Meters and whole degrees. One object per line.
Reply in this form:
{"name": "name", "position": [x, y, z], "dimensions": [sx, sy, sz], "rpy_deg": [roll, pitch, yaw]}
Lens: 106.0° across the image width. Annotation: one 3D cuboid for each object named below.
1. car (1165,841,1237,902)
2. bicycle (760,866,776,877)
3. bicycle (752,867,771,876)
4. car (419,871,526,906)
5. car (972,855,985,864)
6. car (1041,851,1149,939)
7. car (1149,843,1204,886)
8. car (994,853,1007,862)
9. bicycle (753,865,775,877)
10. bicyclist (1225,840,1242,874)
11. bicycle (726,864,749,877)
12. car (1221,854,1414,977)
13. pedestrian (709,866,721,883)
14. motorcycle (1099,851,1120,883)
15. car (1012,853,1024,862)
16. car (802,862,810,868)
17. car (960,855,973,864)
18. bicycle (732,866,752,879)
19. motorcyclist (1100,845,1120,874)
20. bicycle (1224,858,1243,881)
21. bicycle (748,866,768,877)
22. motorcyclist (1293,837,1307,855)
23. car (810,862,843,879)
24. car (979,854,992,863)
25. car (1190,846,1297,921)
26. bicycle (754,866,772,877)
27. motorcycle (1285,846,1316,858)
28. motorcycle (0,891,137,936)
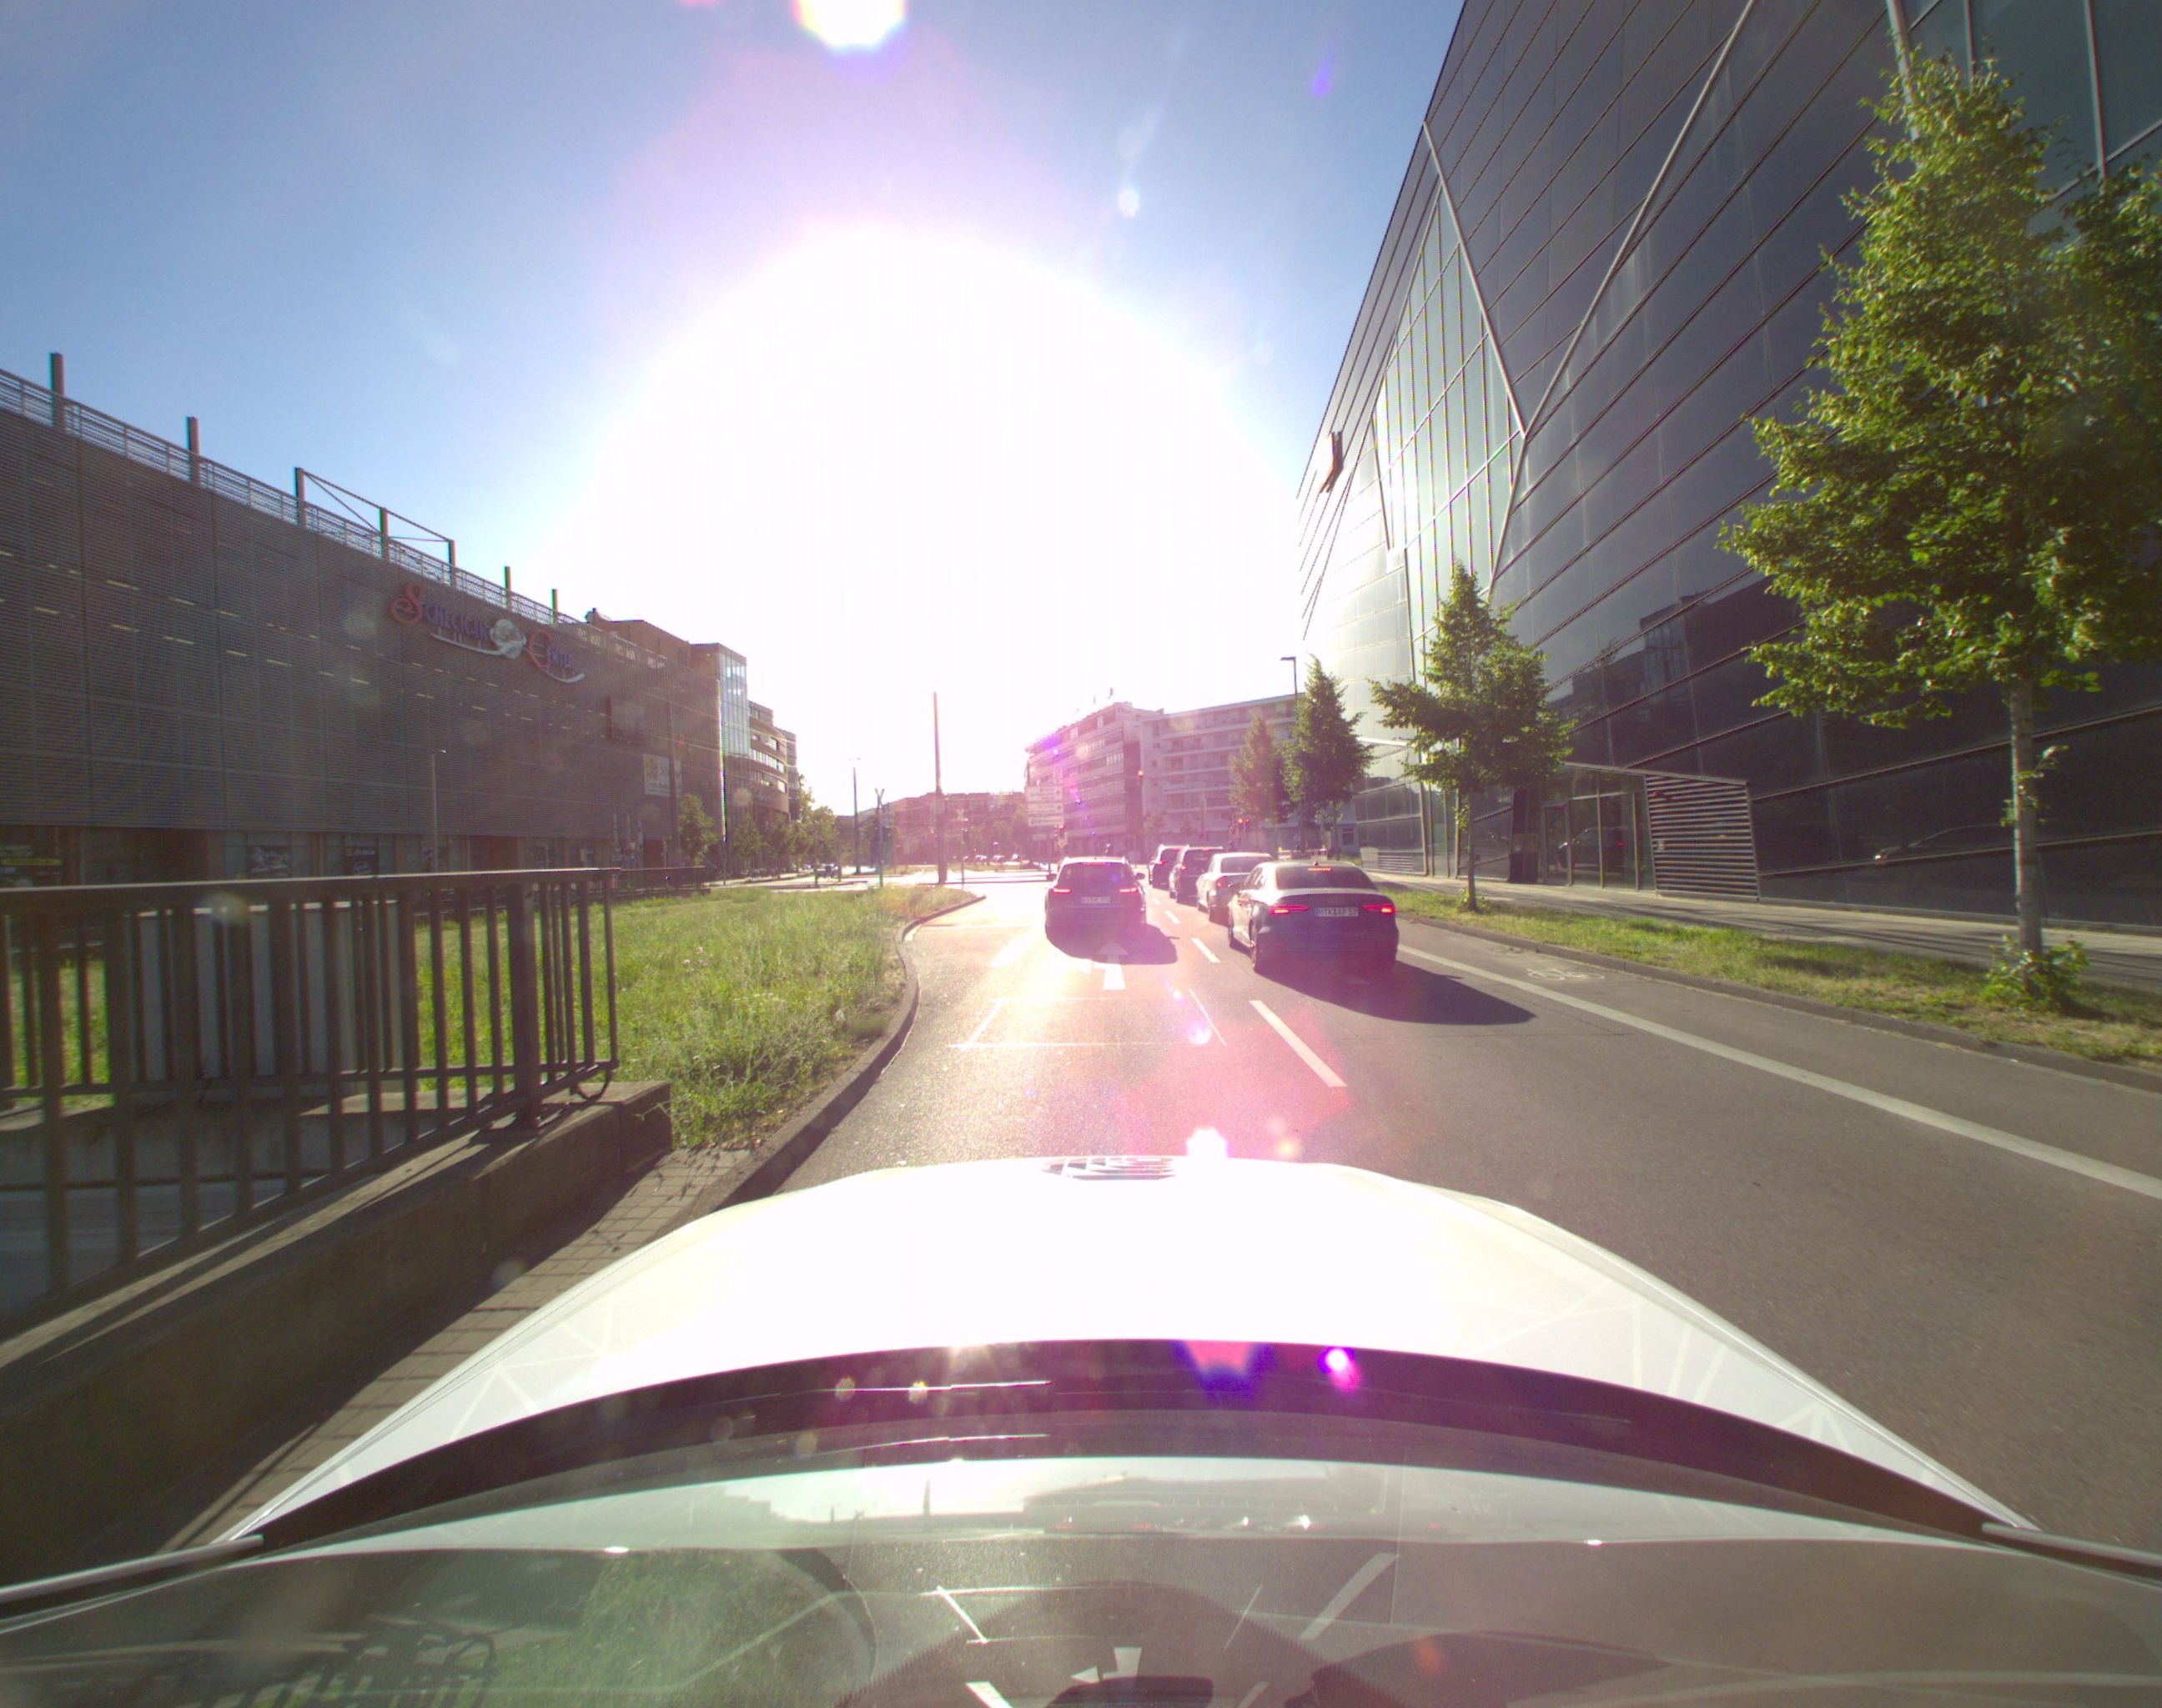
{"name": "car", "position": [3.628, 0.508, 25.223], "dimensions": [1.739, 1.696, 4.263], "rpy_deg": [-1, 0, 2]}
{"name": "bicycle", "position": [-46.186, 2.556, 120.241], "dimensions": [2.125, 1.433, 0.761], "rpy_deg": [-3, -1, 10]}
{"name": "bicycle", "position": [-46.031, 2.511, 117.347], "dimensions": [2.399, 1.236, 0.747], "rpy_deg": [-3, -1, 10]}
{"name": "car", "position": [-30.425, 1.699, 40.886], "dimensions": [1.985, 1.500, 4.246], "rpy_deg": [-2, 0, 2]}
{"name": "car", "position": [-21.562, 1.085, 171.313], "dimensions": [1.998, 1.706, 3.977], "rpy_deg": [-3, -1, -16]}
{"name": "car", "position": [0.297, 0.699, 15.908], "dimensions": [1.835, 1.454, 4.002], "rpy_deg": [0, 0, 2]}
{"name": "car", "position": [4.017, 0.416, 34.954], "dimensions": [1.995, 1.715, 4.374], "rpy_deg": [0, 0, 2]}
{"name": "car", "position": [-16.032, 0.777, 162.421], "dimensions": [1.996, 1.596, 3.982], "rpy_deg": [-3, -1, -13]}
{"name": "bicycle", "position": [-42.586, 2.317, 109.385], "dimensions": [2.546, 1.433, 0.907], "rpy_deg": [-3, -1, 10]}
{"name": "bicyclist", "position": [7.414, 0.142, 39.559], "dimensions": [0.651, 1.642, 0.973], "rpy_deg": [-2, 0, 5]}
{"name": "bicycle", "position": [-42.708, 2.077, 101.167], "dimensions": [2.355, 1.433, 1.079], "rpy_deg": [-3, -1, 10]}
{"name": "car", "position": [3.095, 0.716, 11.552], "dimensions": [1.738, 1.392, 4.269], "rpy_deg": [-1, 0, 4]}
{"name": "pedestrian", "position": [-41.062, 2.257, 91.369], "dimensions": [0.823, 1.824, 0.905], "rpy_deg": [-3, -1, 3]}
{"name": "motorcycle", "position": [1.316, 0.595, 37.522], "dimensions": [0.859, 1.393, 1.894], "rpy_deg": [-2, 0, 2]}
{"name": "car", "position": [-13.513, 0.761, 174.903], "dimensions": [1.995, 1.596, 3.982], "rpy_deg": [-3, -1, -12]}
{"name": "car", "position": [-77.516, 3.024, 229.598], "dimensions": [1.658, 1.588, 3.331], "rpy_deg": [-2, 0, -25]}
{"name": "car", "position": [-23.900, 1.188, 170.095], "dimensions": [1.998, 1.706, 3.977], "rpy_deg": [-3, -1, -16]}
{"name": "bicycle", "position": [-42.506, 2.333, 102.163], "dimensions": [2.070, 1.433, 0.863], "rpy_deg": [-3, -1, 10]}
{"name": "motorcyclist", "position": [1.349, 0.246, 37.599], "dimensions": [0.859, 1.326, 0.681], "rpy_deg": [-2, 0, 2]}
{"name": "bicycle", "position": [7.398, 0.751, 39.563], "dimensions": [0.651, 1.043, 1.932], "rpy_deg": [-2, 1, 5]}
{"name": "bicycle", "position": [-45.921, 2.435, 115.915], "dimensions": [2.591, 1.433, 0.773], "rpy_deg": [-3, -1, 10]}
{"name": "motorcyclist", "position": [19.220, -0.691, 71.605], "dimensions": [0.921, 1.481, 1.172], "rpy_deg": [-2, 0, 2]}
{"name": "car", "position": [-26.727, 1.724, 85.690], "dimensions": [1.986, 1.545, 4.531], "rpy_deg": [-2, 0, 1]}
{"name": "car", "position": [-19.356, 0.927, 164.917], "dimensions": [1.996, 1.596, 3.981], "rpy_deg": [-3, -1, -13]}
{"name": "car", "position": [3.631, 0.605, 18.938], "dimensions": [1.738, 1.481, 4.632], "rpy_deg": [-2, 0, 3]}
{"name": "bicycle", "position": [-46.147, 2.491, 118.200], "dimensions": [2.231, 1.433, 0.720], "rpy_deg": [-3, -1, 10]}
{"name": "motorcycle", "position": [19.287, -0.191, 71.606], "dimensions": [2.443, 1.000, 1.172], "rpy_deg": [-2, 0, 1]}
{"name": "motorcycle", "position": [-41.243, 2.358, 32.653], "dimensions": [1.986, 1.453, 4.002], "rpy_deg": [-2, 1, 2]}
